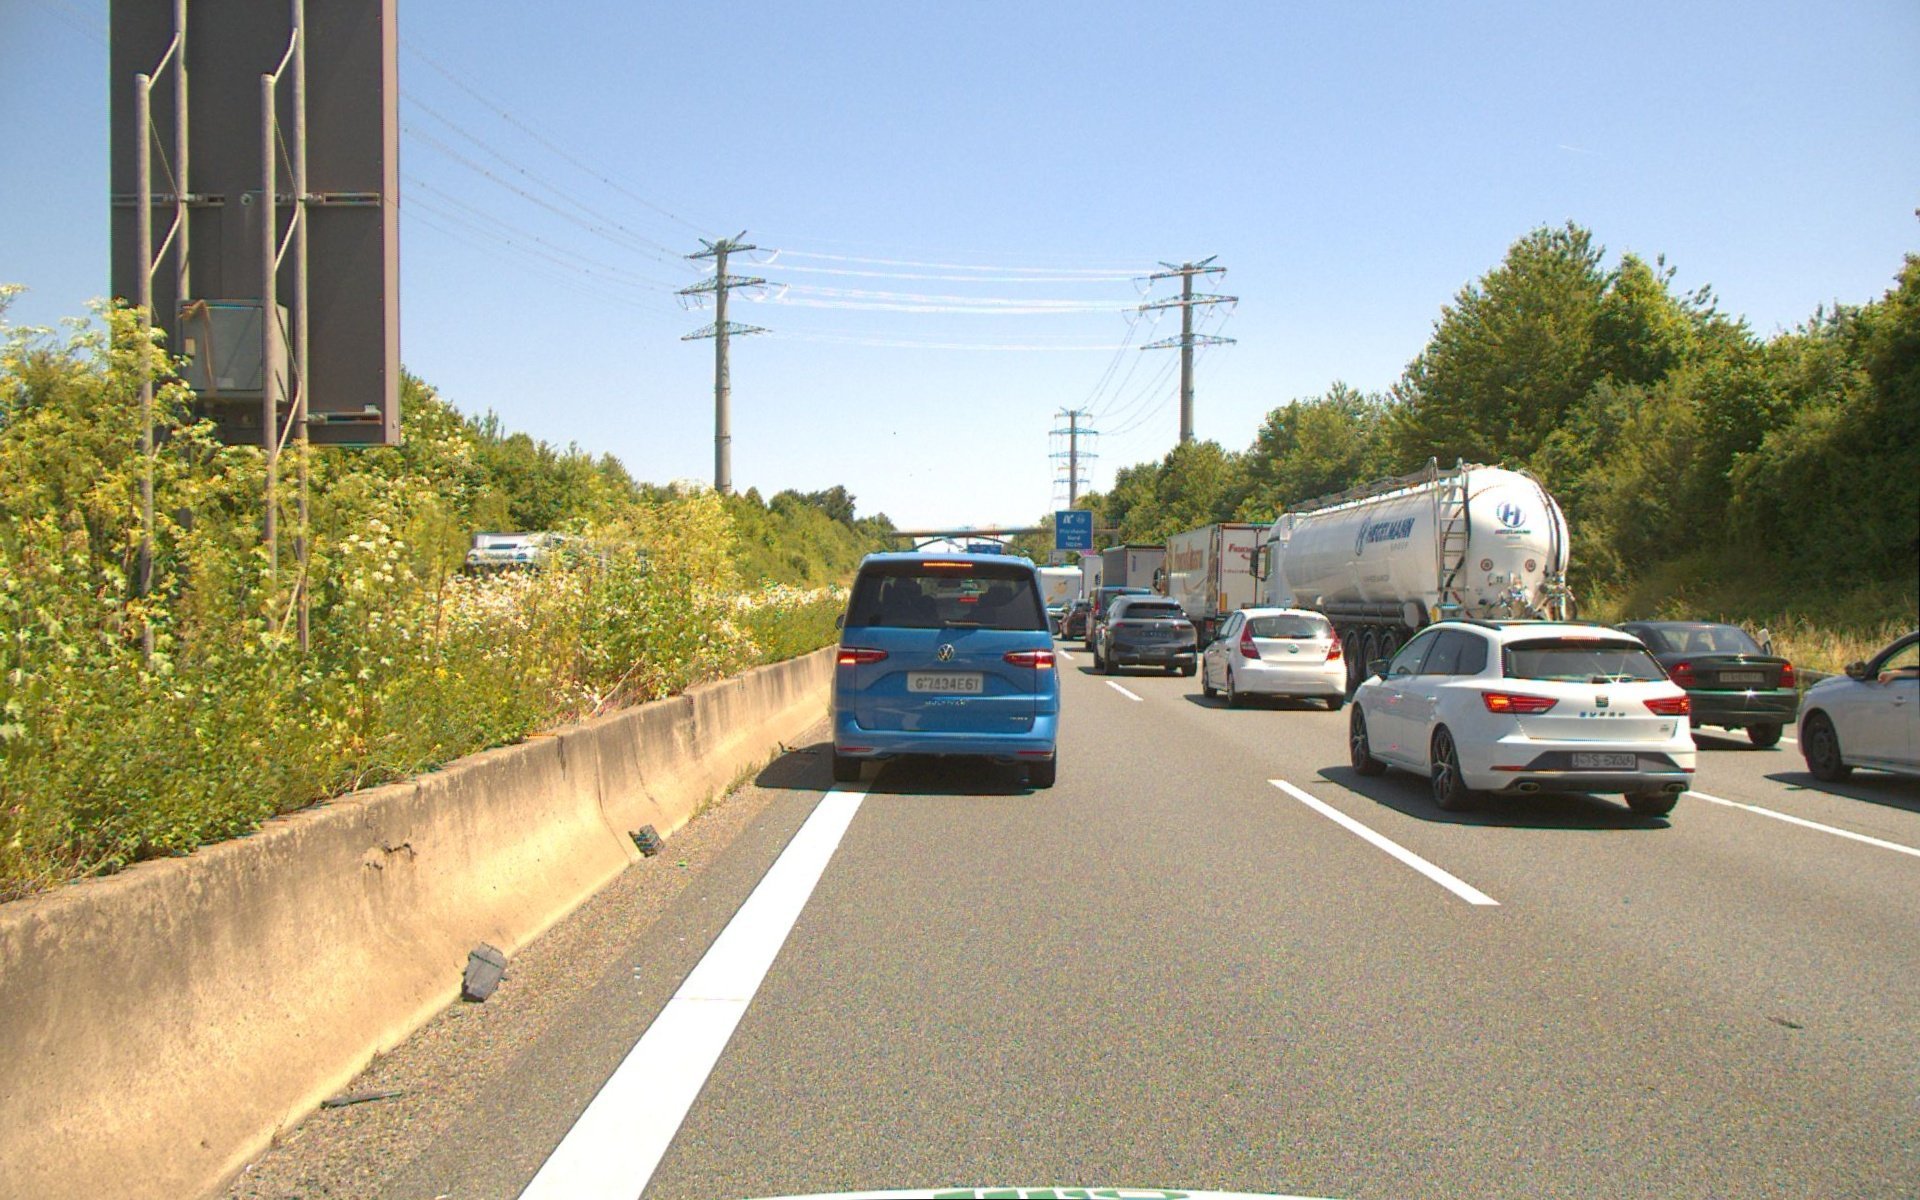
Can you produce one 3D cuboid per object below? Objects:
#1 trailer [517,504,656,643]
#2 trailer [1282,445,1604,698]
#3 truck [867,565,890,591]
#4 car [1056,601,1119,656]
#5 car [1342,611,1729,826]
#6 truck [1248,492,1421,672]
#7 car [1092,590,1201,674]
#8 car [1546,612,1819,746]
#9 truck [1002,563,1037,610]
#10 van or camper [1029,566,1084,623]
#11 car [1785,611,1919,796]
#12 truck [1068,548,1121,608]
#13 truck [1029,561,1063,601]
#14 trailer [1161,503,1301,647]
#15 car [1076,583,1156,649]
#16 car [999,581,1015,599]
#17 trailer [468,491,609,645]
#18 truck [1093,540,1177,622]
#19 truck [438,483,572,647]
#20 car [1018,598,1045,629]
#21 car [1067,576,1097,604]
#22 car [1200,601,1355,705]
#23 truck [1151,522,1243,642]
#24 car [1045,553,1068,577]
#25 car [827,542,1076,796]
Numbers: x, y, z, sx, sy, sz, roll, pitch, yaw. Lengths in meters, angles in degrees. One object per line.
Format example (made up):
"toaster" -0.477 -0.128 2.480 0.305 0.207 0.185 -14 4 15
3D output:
"trailer" -14.693 -0.952 65.943 3.254 5.136 9.591 0 -1 1
"trailer" 8.643 -0.423 31.497 2.705 3.912 11.484 0 0 0
"truck" -12.490 -3.339 255.335 2.852 3.886 11.943 1 0 0
"car" 4.796 1.082 62.820 1.885 1.959 4.233 -1 -1 -2
"car" 4.454 0.850 13.533 1.711 1.468 4.313 0 -1 1
"truck" 8.614 -0.378 38.684 2.736 3.904 5.571 0 0 0
"car" 4.090 0.698 36.921 1.958 1.745 4.625 0 -1 1
"car" 8.665 0.898 20.203 1.607 1.441 3.989 -1 -1 1
"truck" 5.090 -1.111 142.297 2.835 3.832 10.141 0 -1 1
"van or camper" 5.397 -0.276 93.693 2.896 3.075 7.104 0 -1 2
"car" 8.651 0.854 13.622 1.695 1.468 4.028 0 0 0
"truck" 9.197 -1.396 114.245 2.835 3.832 13.345 0 -1 1
"truck" 10.267 -2.176 198.166 3.493 4.596 10.292 0 -1 0
"trailer" 9.320 -0.756 58.448 2.852 4.547 12.152 0 0 0
"car" 4.835 0.519 51.808 1.885 1.959 4.233 -1 -1 -2
"car" 5.841 -1.257 206.263 1.953 2.163 3.999 0 -1 0
"trailer" -14.790 -1.044 58.621 3.254 5.136 6.703 0 -1 0
"truck" 8.797 -0.817 85.043 2.944 3.832 15.713 0 -1 1
"truck" -14.807 -1.103 54.129 3.235 5.139 4.032 0 0 0
"car" 4.867 0.957 113.204 1.798 2.033 4.000 -1 -1 2
"car" 9.174 -0.703 124.474 1.952 2.049 4.000 0 -1 0
"car" 4.930 0.813 26.195 1.779 1.511 4.000 0 -1 1
"truck" 9.278 -0.683 65.226 2.853 4.547 5.142 0 0 0
"car" 8.974 -3.237 154.238 1.952 2.049 4.000 0 -1 0
"car" -0.053 0.530 14.759 1.881 1.919 4.000 1 0 0
